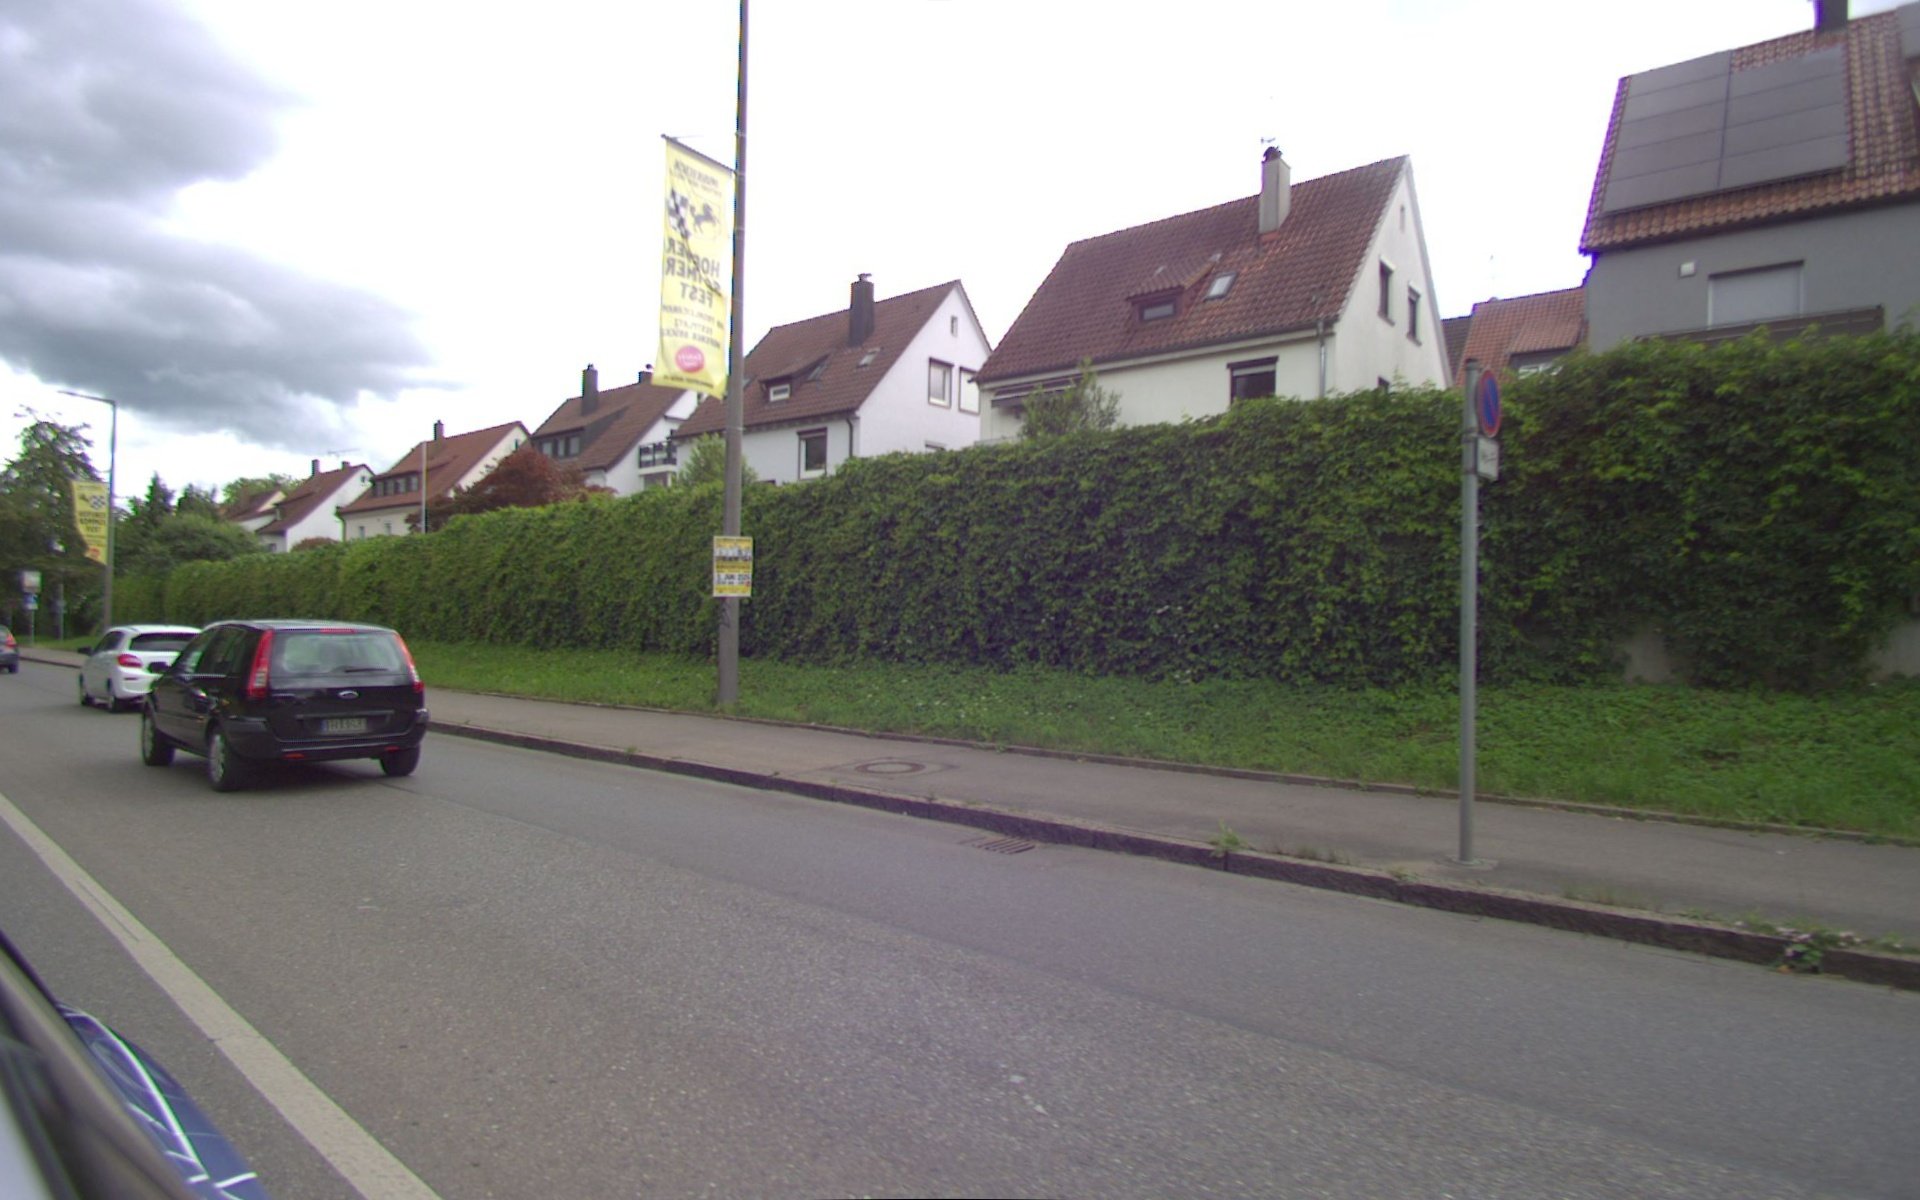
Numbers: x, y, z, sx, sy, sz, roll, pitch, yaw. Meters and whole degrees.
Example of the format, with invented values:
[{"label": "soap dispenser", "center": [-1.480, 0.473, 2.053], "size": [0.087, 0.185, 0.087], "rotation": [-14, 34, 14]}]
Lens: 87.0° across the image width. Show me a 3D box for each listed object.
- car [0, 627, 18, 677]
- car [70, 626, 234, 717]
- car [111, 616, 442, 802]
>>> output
[{"label": "car", "center": [-30.003, 1.554, 30.635], "size": [4.151, 1.475, 1.710], "rotation": [-2, -3, 41]}, {"label": "car", "center": [-14.656, 1.233, 18.284], "size": [4.070, 1.472, 1.601], "rotation": [-1, -4, 42]}, {"label": "car", "center": [-6.952, 0.954, 10.137], "size": [4.103, 1.492, 1.626], "rotation": [-1, -4, 40]}]
